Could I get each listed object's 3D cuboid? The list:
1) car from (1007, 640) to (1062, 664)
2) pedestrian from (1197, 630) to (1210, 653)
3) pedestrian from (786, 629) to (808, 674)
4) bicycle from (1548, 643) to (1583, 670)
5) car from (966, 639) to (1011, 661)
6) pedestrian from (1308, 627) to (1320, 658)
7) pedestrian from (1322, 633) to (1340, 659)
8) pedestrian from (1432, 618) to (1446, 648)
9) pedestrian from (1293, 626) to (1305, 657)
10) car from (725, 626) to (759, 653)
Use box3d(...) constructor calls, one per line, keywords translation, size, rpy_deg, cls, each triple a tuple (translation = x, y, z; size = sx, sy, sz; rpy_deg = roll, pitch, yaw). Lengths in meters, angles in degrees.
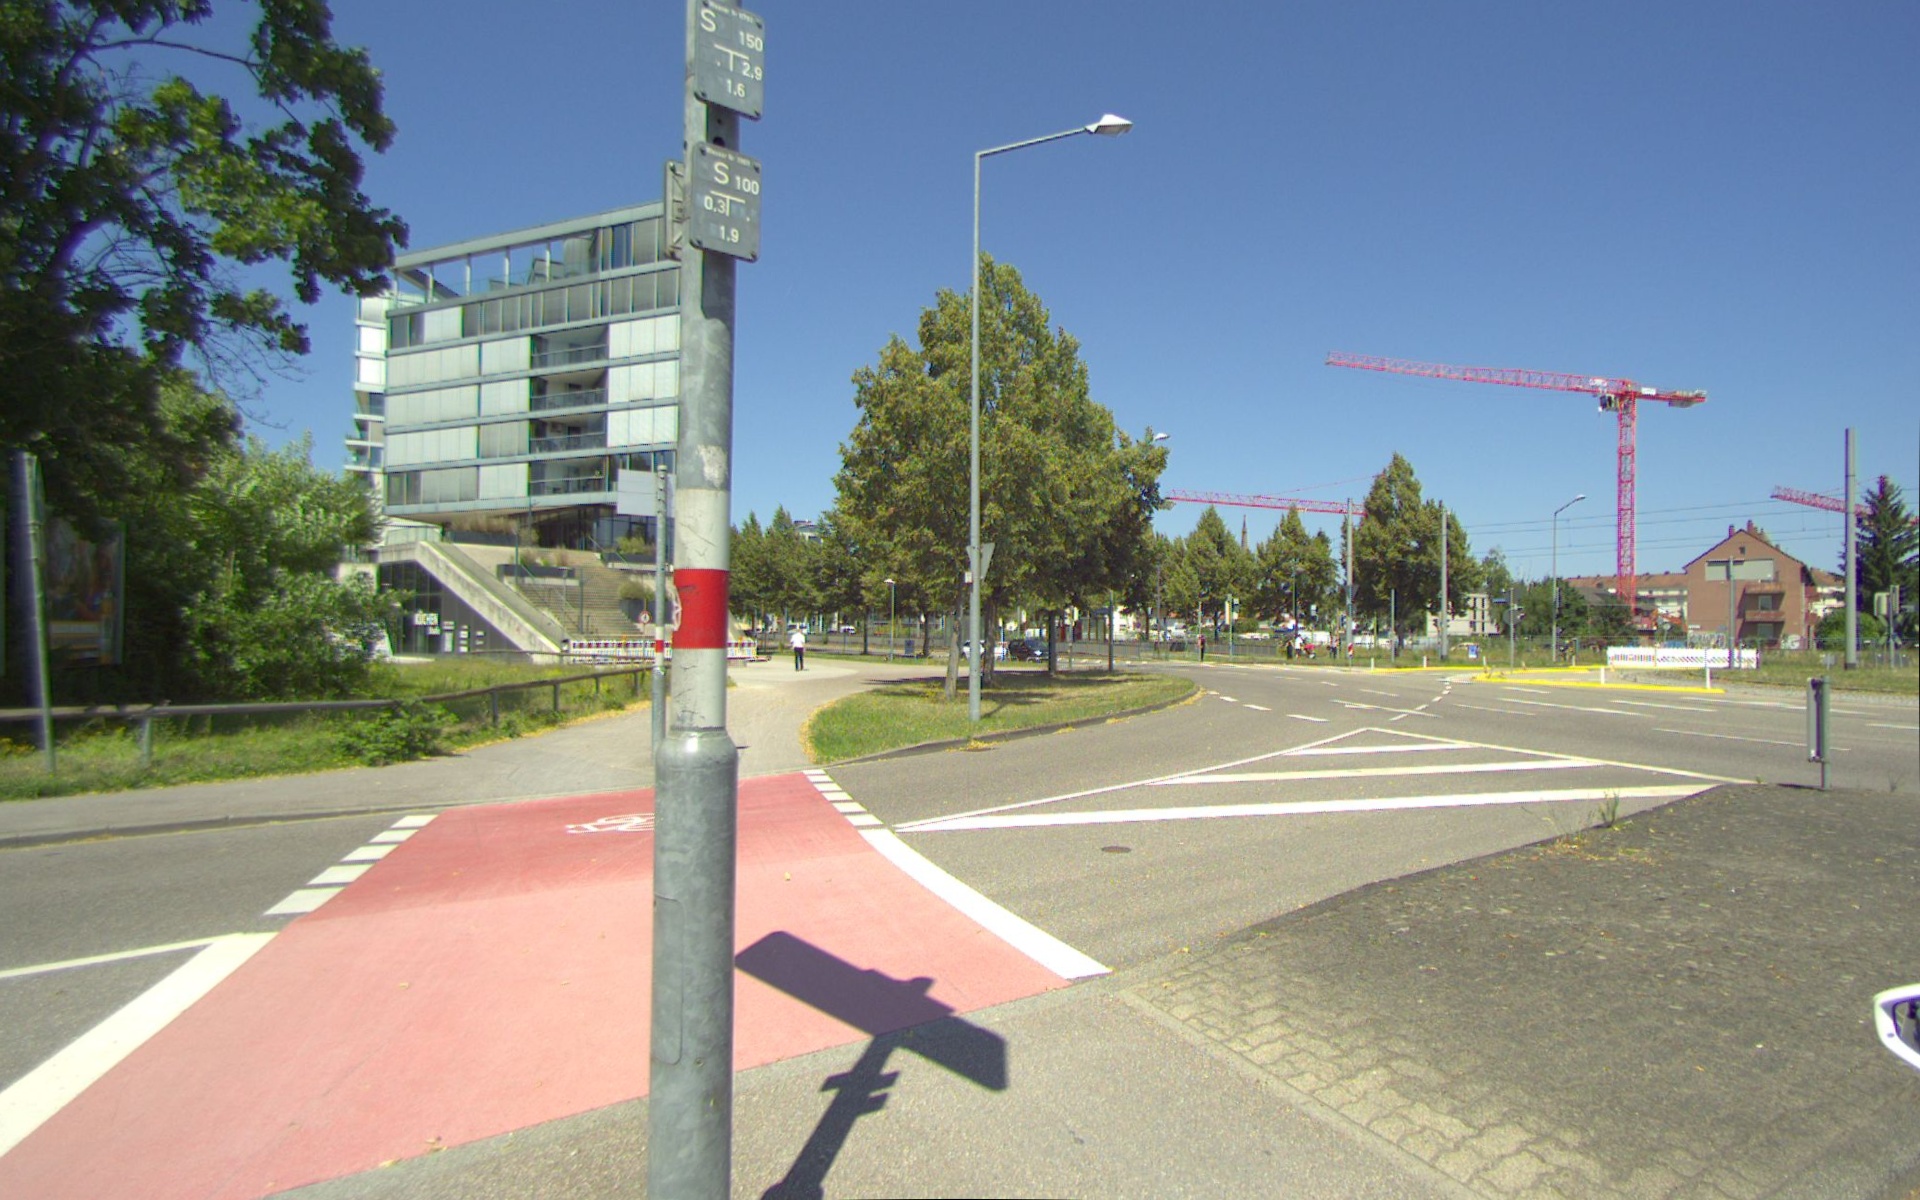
box3d(translation=(4.469, 3.108, 60.555), size=(1.719, 1.228, 3.542), rpy_deg=(2, -1, -27), cls="car")
box3d(translation=(14.884, 2.527, 61.456), size=(0.589, 1.425, 0.540), rpy_deg=(1, -2, -26), cls="pedestrian")
box3d(translation=(-6.998, 2.223, 43.150), size=(0.821, 1.893, 0.610), rpy_deg=(2, 0, -15), cls="pedestrian")
box3d(translation=(40.997, 3.809, 68.050), size=(2.046, 1.707, 0.560), rpy_deg=(2, 0, -3), cls="bicycle")
box3d(translation=(1.835, 3.215, 65.193), size=(1.557, 1.241, 3.300), rpy_deg=(2, -1, -27), cls="car")
box3d(translation=(22.254, 2.653, 63.207), size=(0.617, 1.960, 0.645), rpy_deg=(0, -1, 27), cls="pedestrian")
box3d(translation=(24.976, 3.092, 67.639), size=(0.748, 1.661, 0.778), rpy_deg=(2, 0, -16), cls="pedestrian")
box3d(translation=(32.769, 2.260, 68.737), size=(0.587, 2.040, 0.599), rpy_deg=(2, 0, -29), cls="pedestrian")
box3d(translation=(21.347, 2.592, 63.171), size=(0.617, 1.960, 0.645), rpy_deg=(0, -1, 27), cls="pedestrian")
box3d(translation=(-20.718, 3.707, 95.259), size=(1.978, 2.541, 3.967), rpy_deg=(1, -2, -31), cls="car")
